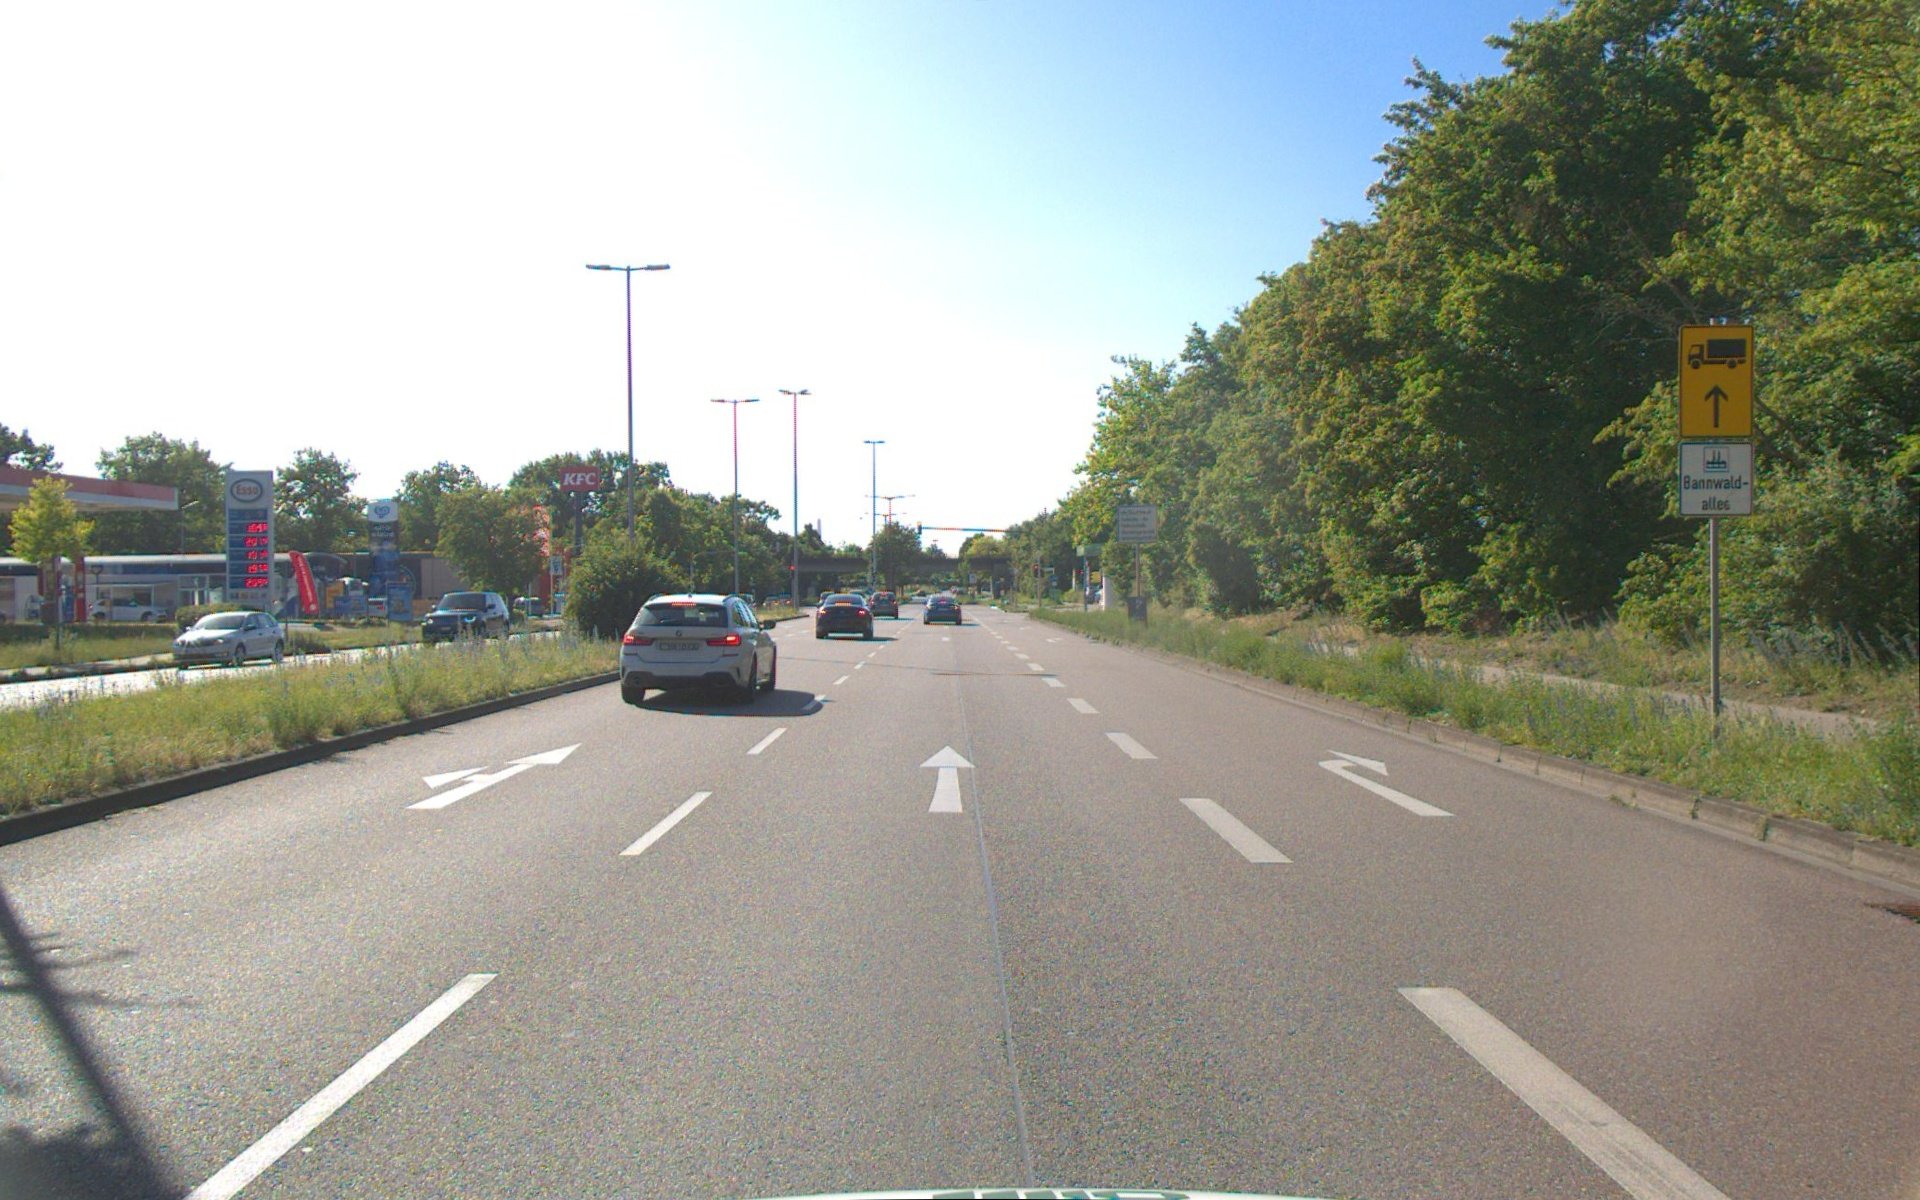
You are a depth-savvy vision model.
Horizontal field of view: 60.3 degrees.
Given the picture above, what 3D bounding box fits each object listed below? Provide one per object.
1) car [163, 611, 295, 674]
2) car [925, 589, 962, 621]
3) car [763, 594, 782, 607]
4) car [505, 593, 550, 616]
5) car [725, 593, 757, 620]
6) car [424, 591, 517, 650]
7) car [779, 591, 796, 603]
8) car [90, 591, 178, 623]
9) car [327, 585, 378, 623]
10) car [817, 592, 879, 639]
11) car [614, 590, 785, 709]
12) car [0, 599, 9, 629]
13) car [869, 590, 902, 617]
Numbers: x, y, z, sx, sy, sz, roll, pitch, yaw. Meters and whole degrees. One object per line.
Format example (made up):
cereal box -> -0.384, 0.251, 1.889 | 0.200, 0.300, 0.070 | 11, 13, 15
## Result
car -> -19.943, 1.124, 45.314 | 1.704, 1.481, 4.208 | -3, 0, -1
car -> -0.841, 0.228, 83.374 | 1.824, 1.525, 4.336 | -1, 0, -1
car -> -20.854, 0.030, 183.733 | 1.669, 1.426, 3.722 | -1, 0, -1
car -> -36.382, 0.373, 139.081 | 1.913, 1.814, 4.020 | -1, 0, -44
car -> -12.902, 0.347, 97.708 | 1.463, 1.535, 3.486 | -1, 0, -1
car -> -16.697, 0.650, 56.661 | 1.704, 1.833, 4.671 | -4, 0, 0
car -> -20.584, -0.337, 197.994 | 1.669, 1.426, 3.722 | -1, 0, -1
car -> -50.055, 0.411, 100.308 | 4.297, 1.875, 1.999 | -1, 0, -3
car -> -37.750, 0.224, 102.861 | 1.782, 2.248, 3.999 | -1, 0, -1
car -> -3.711, 0.486, 55.426 | 1.824, 1.480, 4.547 | -1, 0, -1
car -> -3.628, 0.631, 23.817 | 1.824, 1.480, 4.546 | 1, 1, -2
car -> -52.443, 0.765, 87.512 | 1.773, 1.577, 4.294 | -1, 0, 0
car -> -4.486, 0.174, 99.738 | 1.824, 1.592, 4.547 | 0, 0, -1
